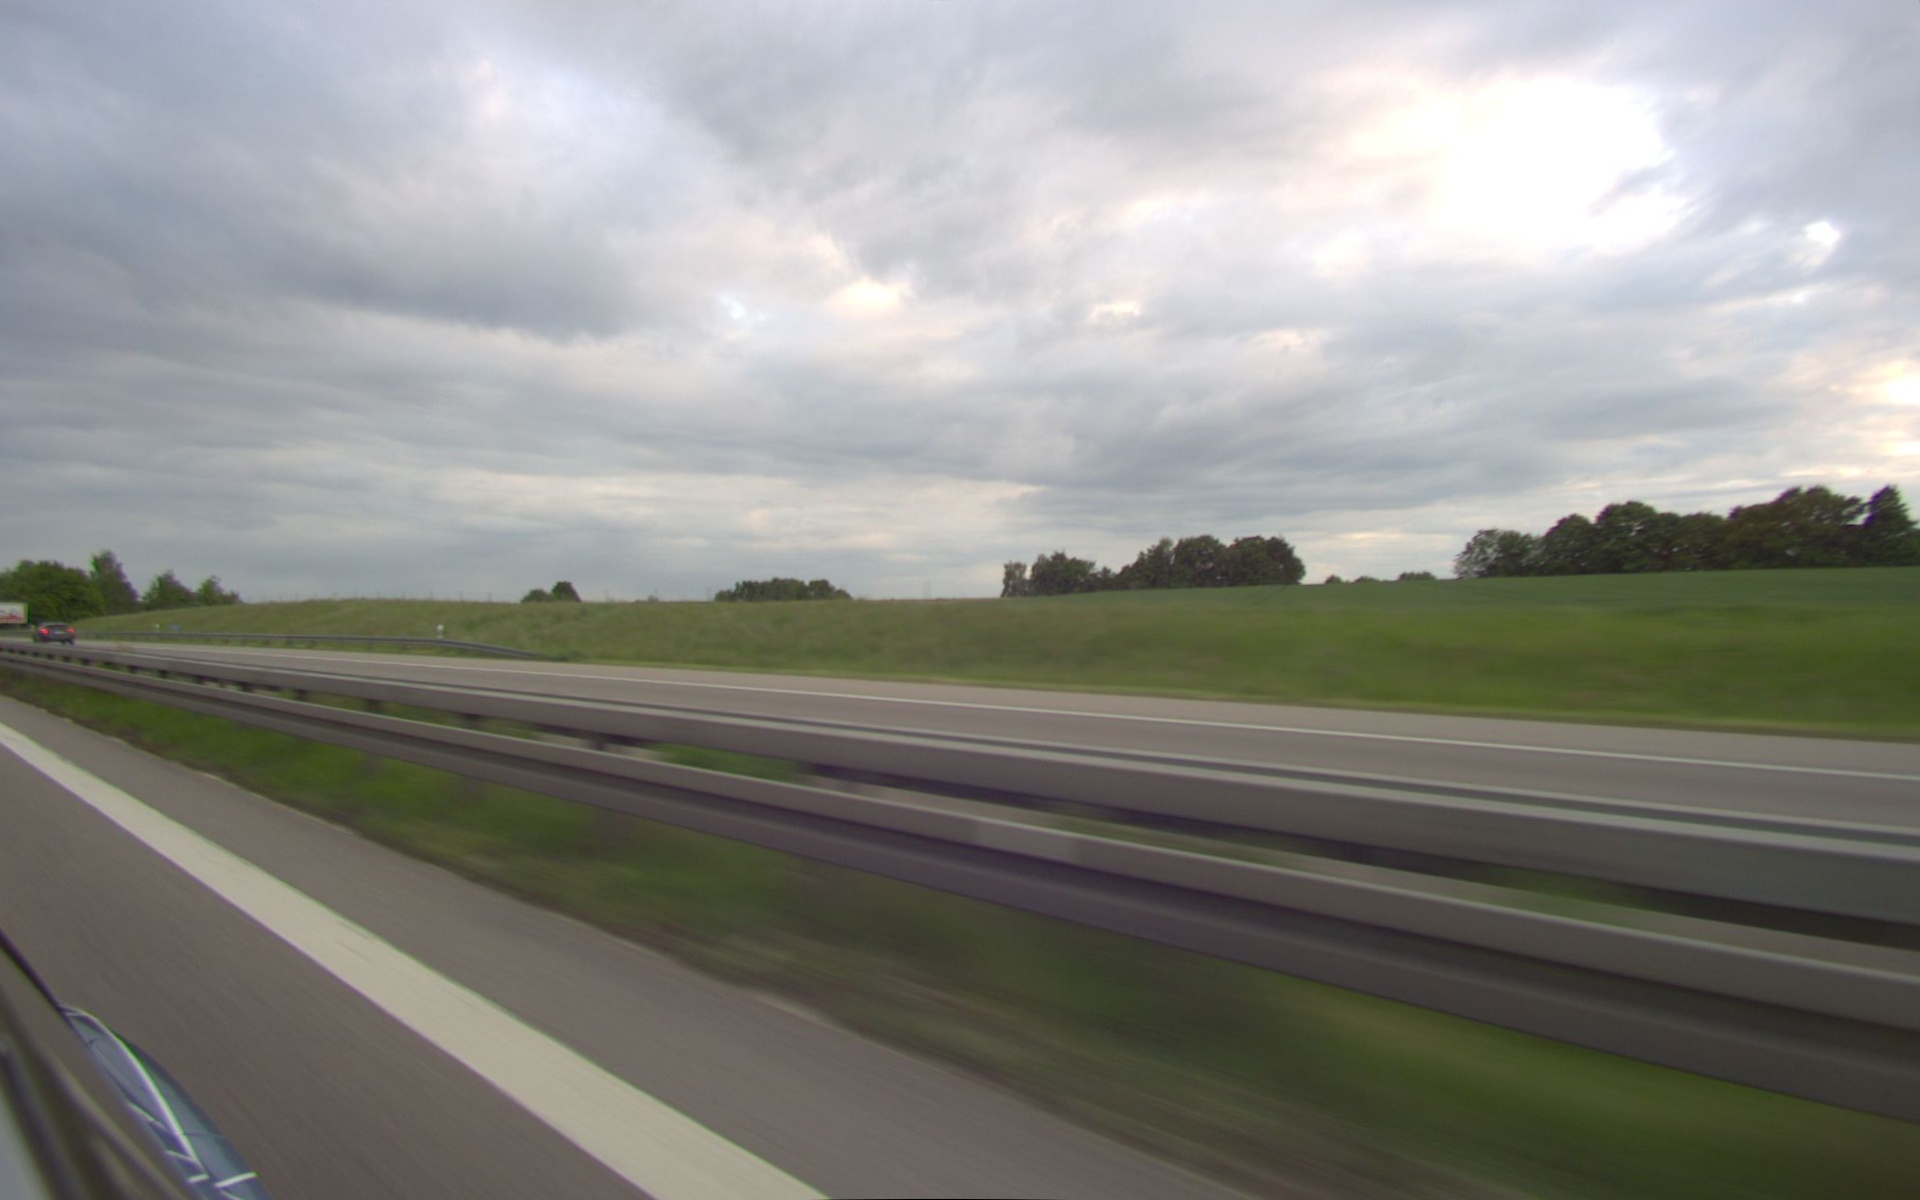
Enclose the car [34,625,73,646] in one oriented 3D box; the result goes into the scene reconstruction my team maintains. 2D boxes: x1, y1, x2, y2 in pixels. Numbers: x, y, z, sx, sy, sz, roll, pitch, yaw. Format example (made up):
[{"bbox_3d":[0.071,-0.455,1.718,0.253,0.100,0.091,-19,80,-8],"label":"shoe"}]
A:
[{"bbox_3d":[-63.877,2.457,71.286,3.796,1.381,1.533,-1,0,41],"label":"car"}]
